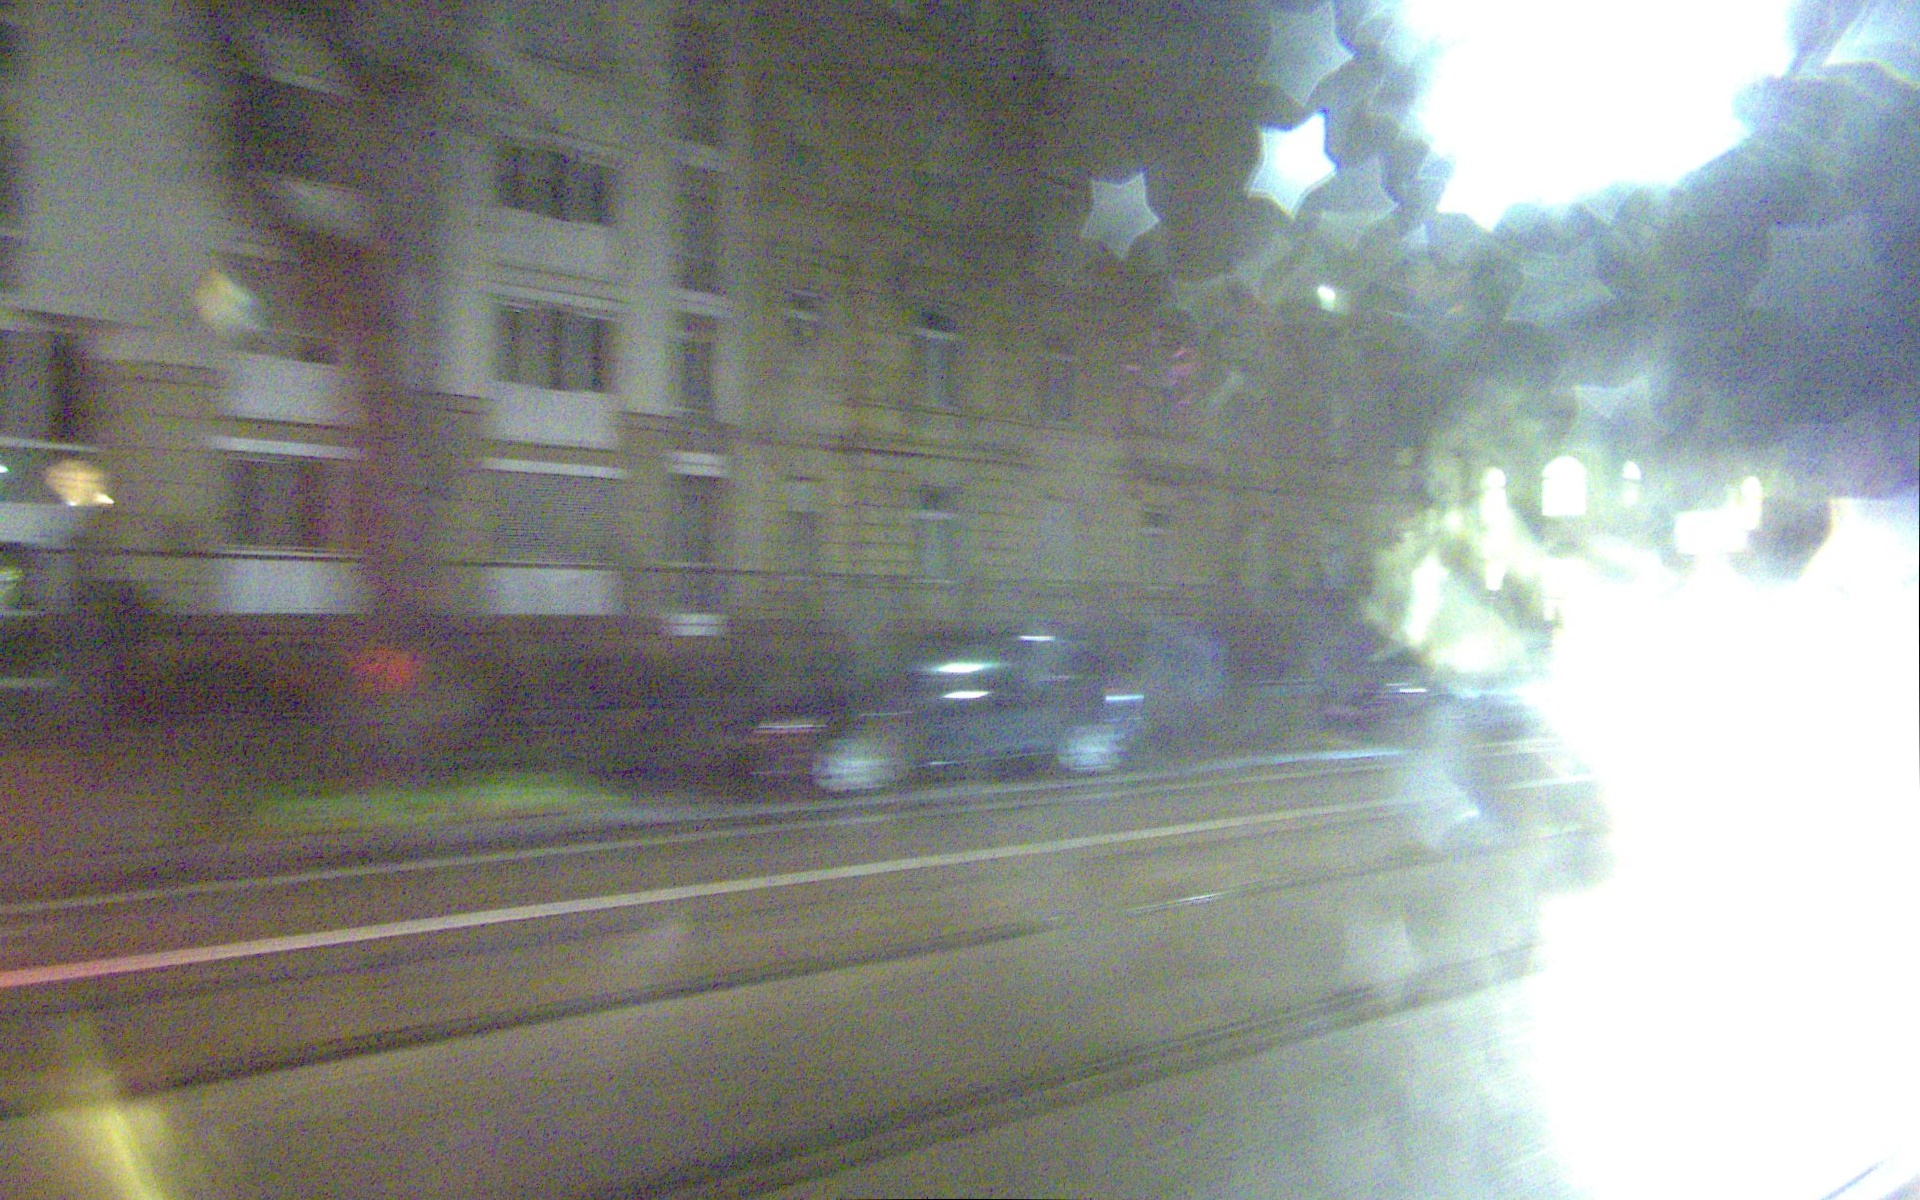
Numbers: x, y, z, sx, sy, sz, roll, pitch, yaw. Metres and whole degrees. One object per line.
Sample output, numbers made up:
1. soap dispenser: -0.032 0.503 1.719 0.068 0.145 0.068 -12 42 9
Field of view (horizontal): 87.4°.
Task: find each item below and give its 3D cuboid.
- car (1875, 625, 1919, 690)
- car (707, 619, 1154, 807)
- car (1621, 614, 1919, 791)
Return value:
1. car: 23.468 1.395 23.614 3.952 1.405 1.661 2 1 -29
2. car: -0.224 0.978 9.980 4.094 1.425 1.756 1 2 -31
3. car: 8.763 0.920 10.267 4.155 1.499 1.644 1 -2 -30
